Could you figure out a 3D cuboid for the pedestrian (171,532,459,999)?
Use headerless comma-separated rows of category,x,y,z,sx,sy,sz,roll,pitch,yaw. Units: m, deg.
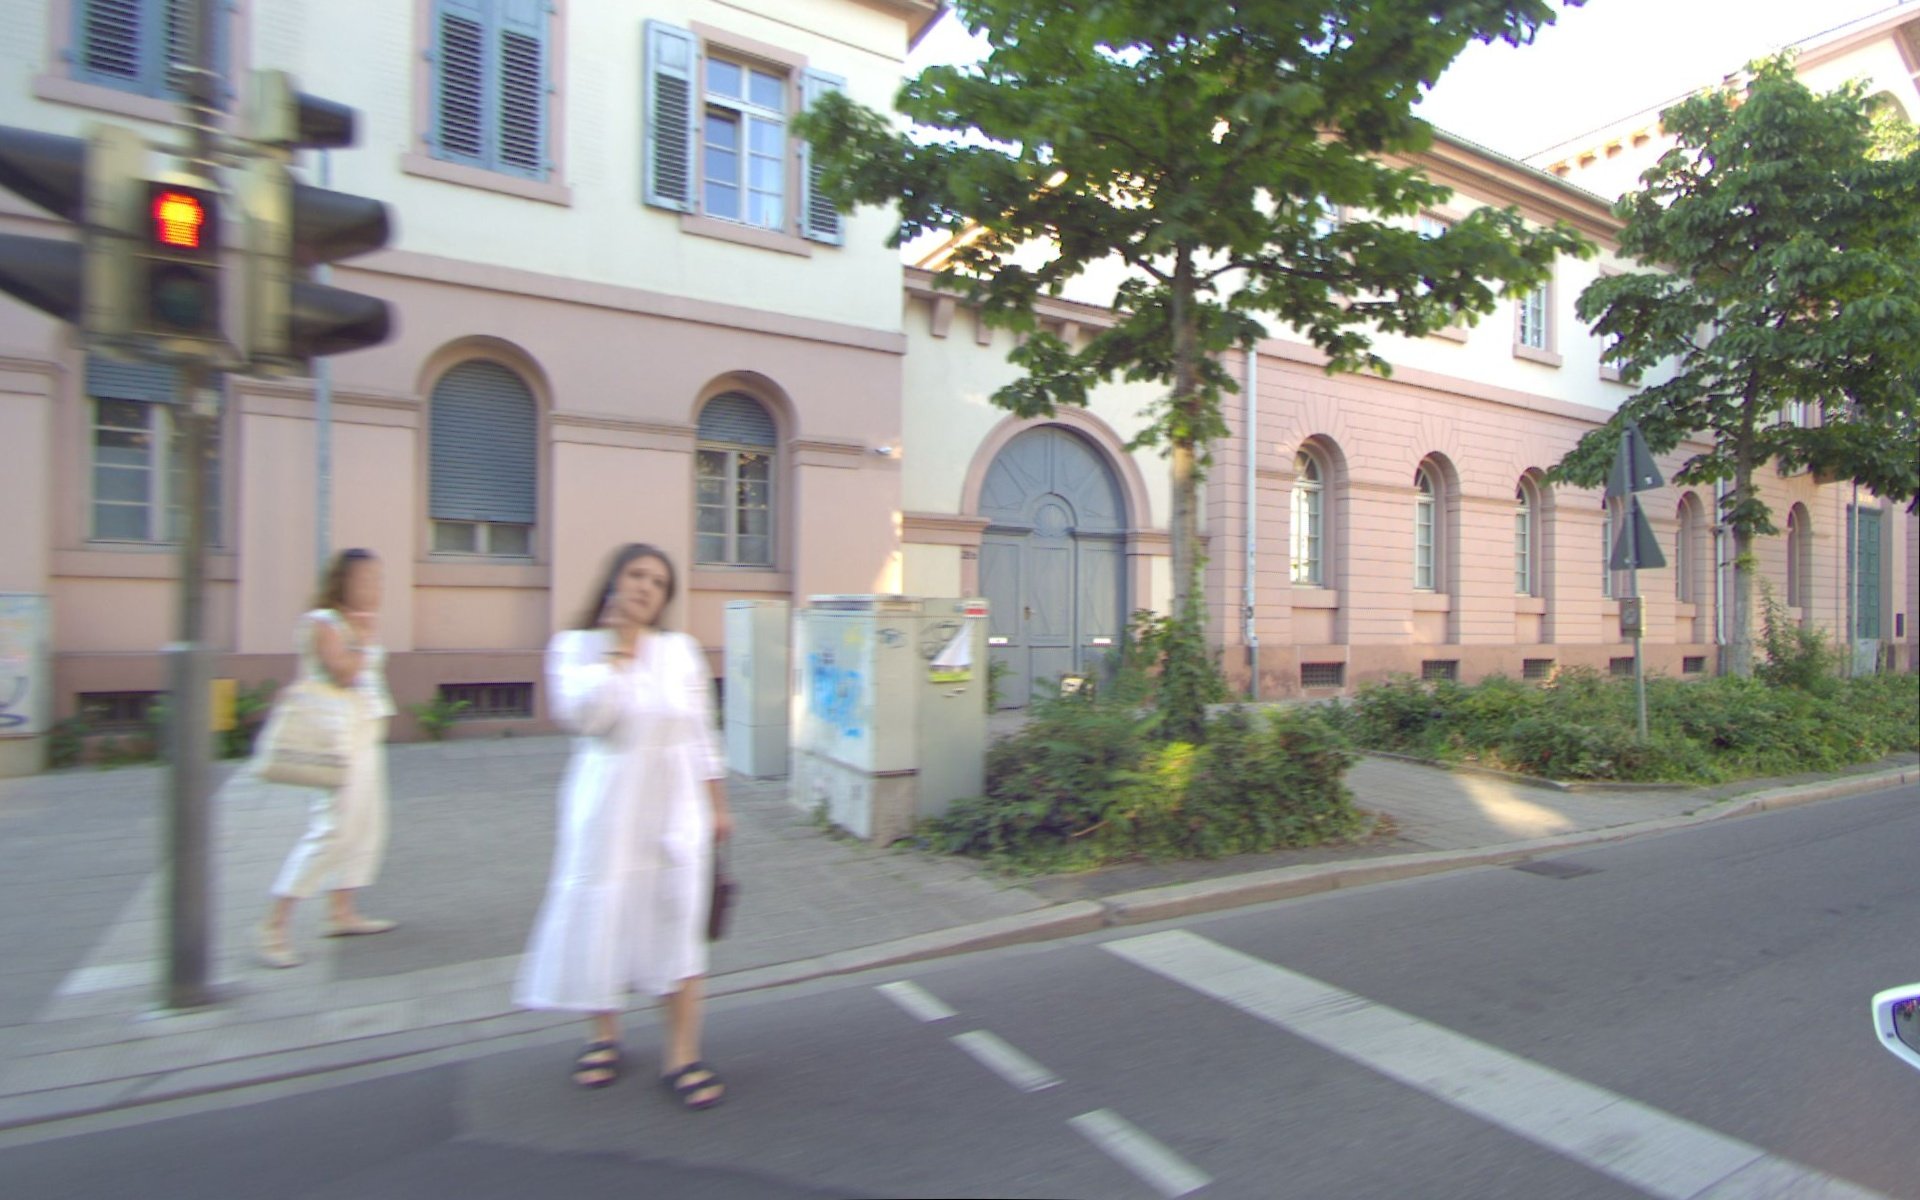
pedestrian,-2.704,0.640,4.314,0.756,1.815,0.792,1,2,-6

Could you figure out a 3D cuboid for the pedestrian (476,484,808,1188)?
pedestrian,-1.042,0.651,3.290,0.787,1.913,0.761,1,-1,-42
